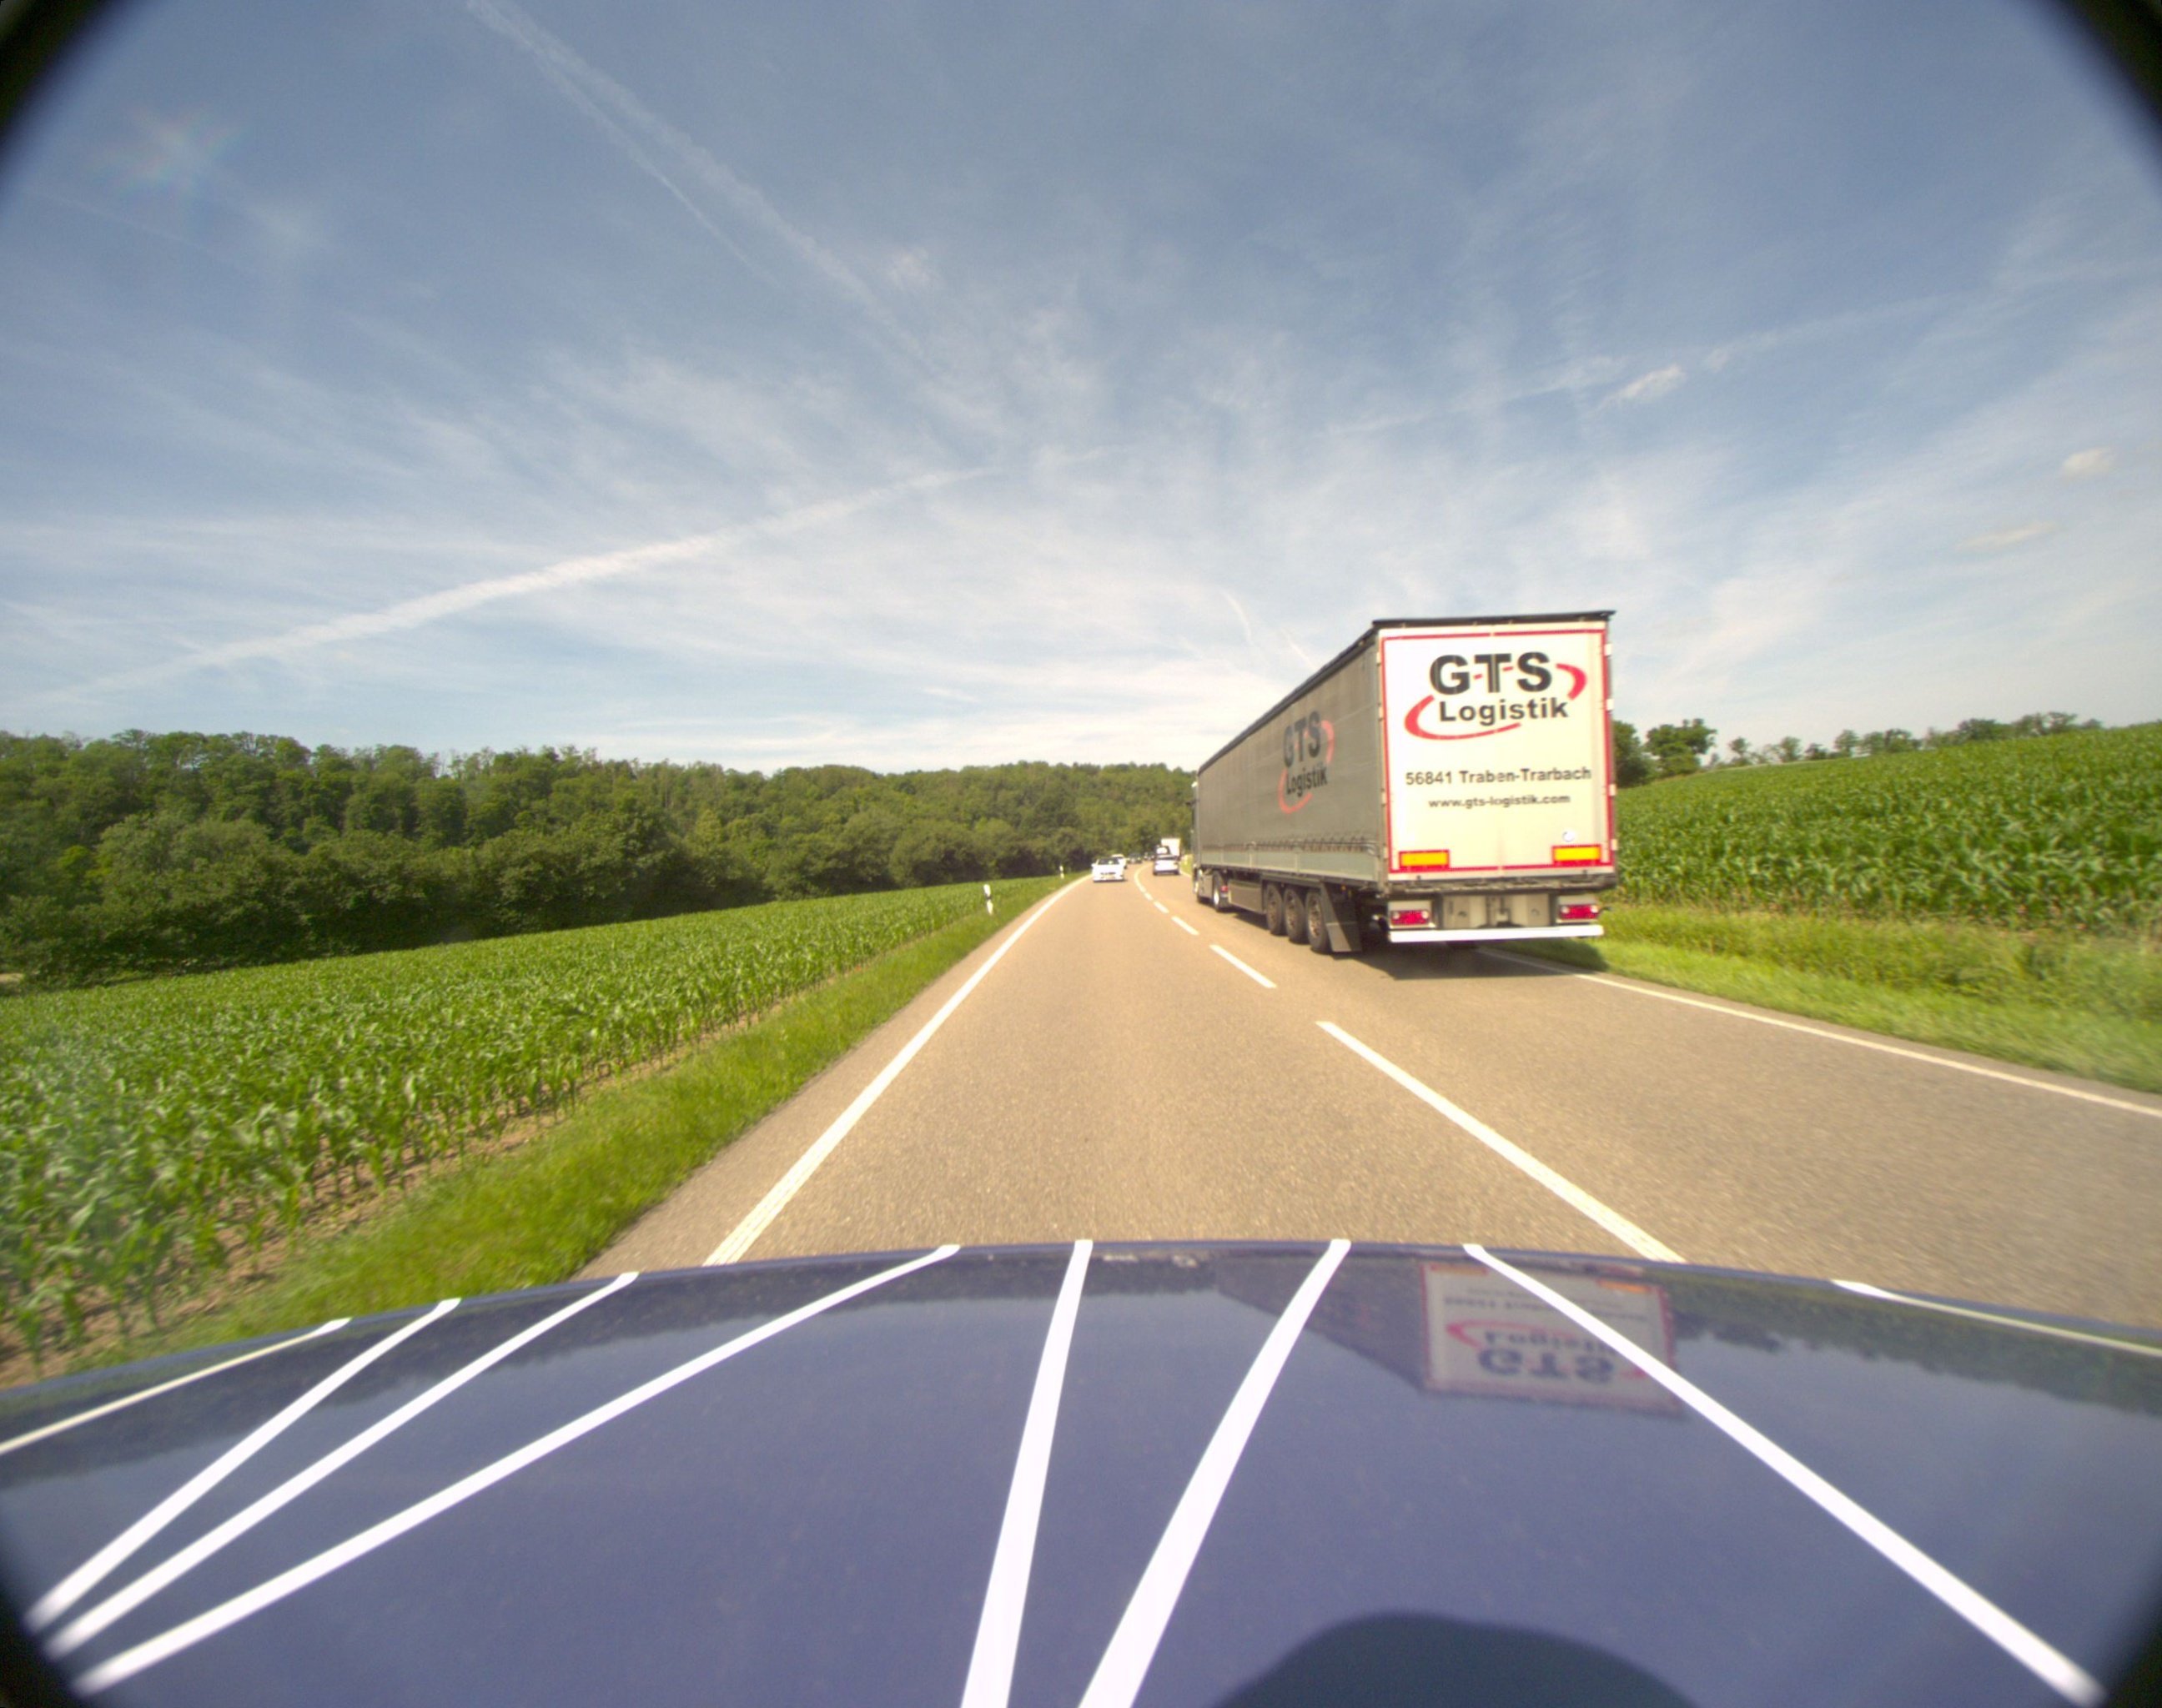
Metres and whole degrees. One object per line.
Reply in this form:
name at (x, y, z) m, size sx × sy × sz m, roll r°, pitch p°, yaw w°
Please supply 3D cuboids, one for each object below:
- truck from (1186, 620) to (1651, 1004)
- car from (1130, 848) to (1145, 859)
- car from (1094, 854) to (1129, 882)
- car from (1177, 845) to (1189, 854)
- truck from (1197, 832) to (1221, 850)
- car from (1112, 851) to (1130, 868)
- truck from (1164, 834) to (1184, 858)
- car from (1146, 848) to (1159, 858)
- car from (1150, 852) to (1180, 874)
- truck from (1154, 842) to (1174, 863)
truck at (4.701, -0.471, 16.268) m, size 2.834 × 3.969 × 16.532 m, roll -1°, pitch 0°, yaw 1°
car at (7.952, -0.120, 106.662) m, size 1.741 × 1.445 × 4.038 m, roll -2°, pitch 1°, yaw 10°
car at (1.875, 0.806, 45.715) m, size 1.742 × 1.445 × 4.037 m, roll -2°, pitch 1°, yaw 7°
car at (22.666, -0.940, 168.744) m, size 1.996 × 1.759 × 4.004 m, roll -2°, pitch 2°, yaw 17°
truck at (29.728, -3.040, 176.105) m, size 2.774 × 3.975 × 17.047 m, roll -2°, pitch 0°, yaw 18°
car at (4.228, 0.556, 79.325) m, size 1.717 × 1.523 × 4.000 m, roll -3°, pitch 1°, yaw 4°
truck at (14.677, -1.216, 119.534) m, size 2.746 × 3.558 × 9.731 m, roll -2°, pitch 0°, yaw 7°
car at (12.150, -0.140, 128.264) m, size 1.741 × 1.445 × 4.038 m, roll -2°, pitch 1°, yaw 11°
car at (5.963, 0.639, 54.433) m, size 1.732 × 1.432 × 4.177 m, roll -2°, pitch 0°, yaw 2°
truck at (9.748, -0.182, 89.110) m, size 2.013 × 2.306 × 5.194 m, roll -2°, pitch 0°, yaw 8°
